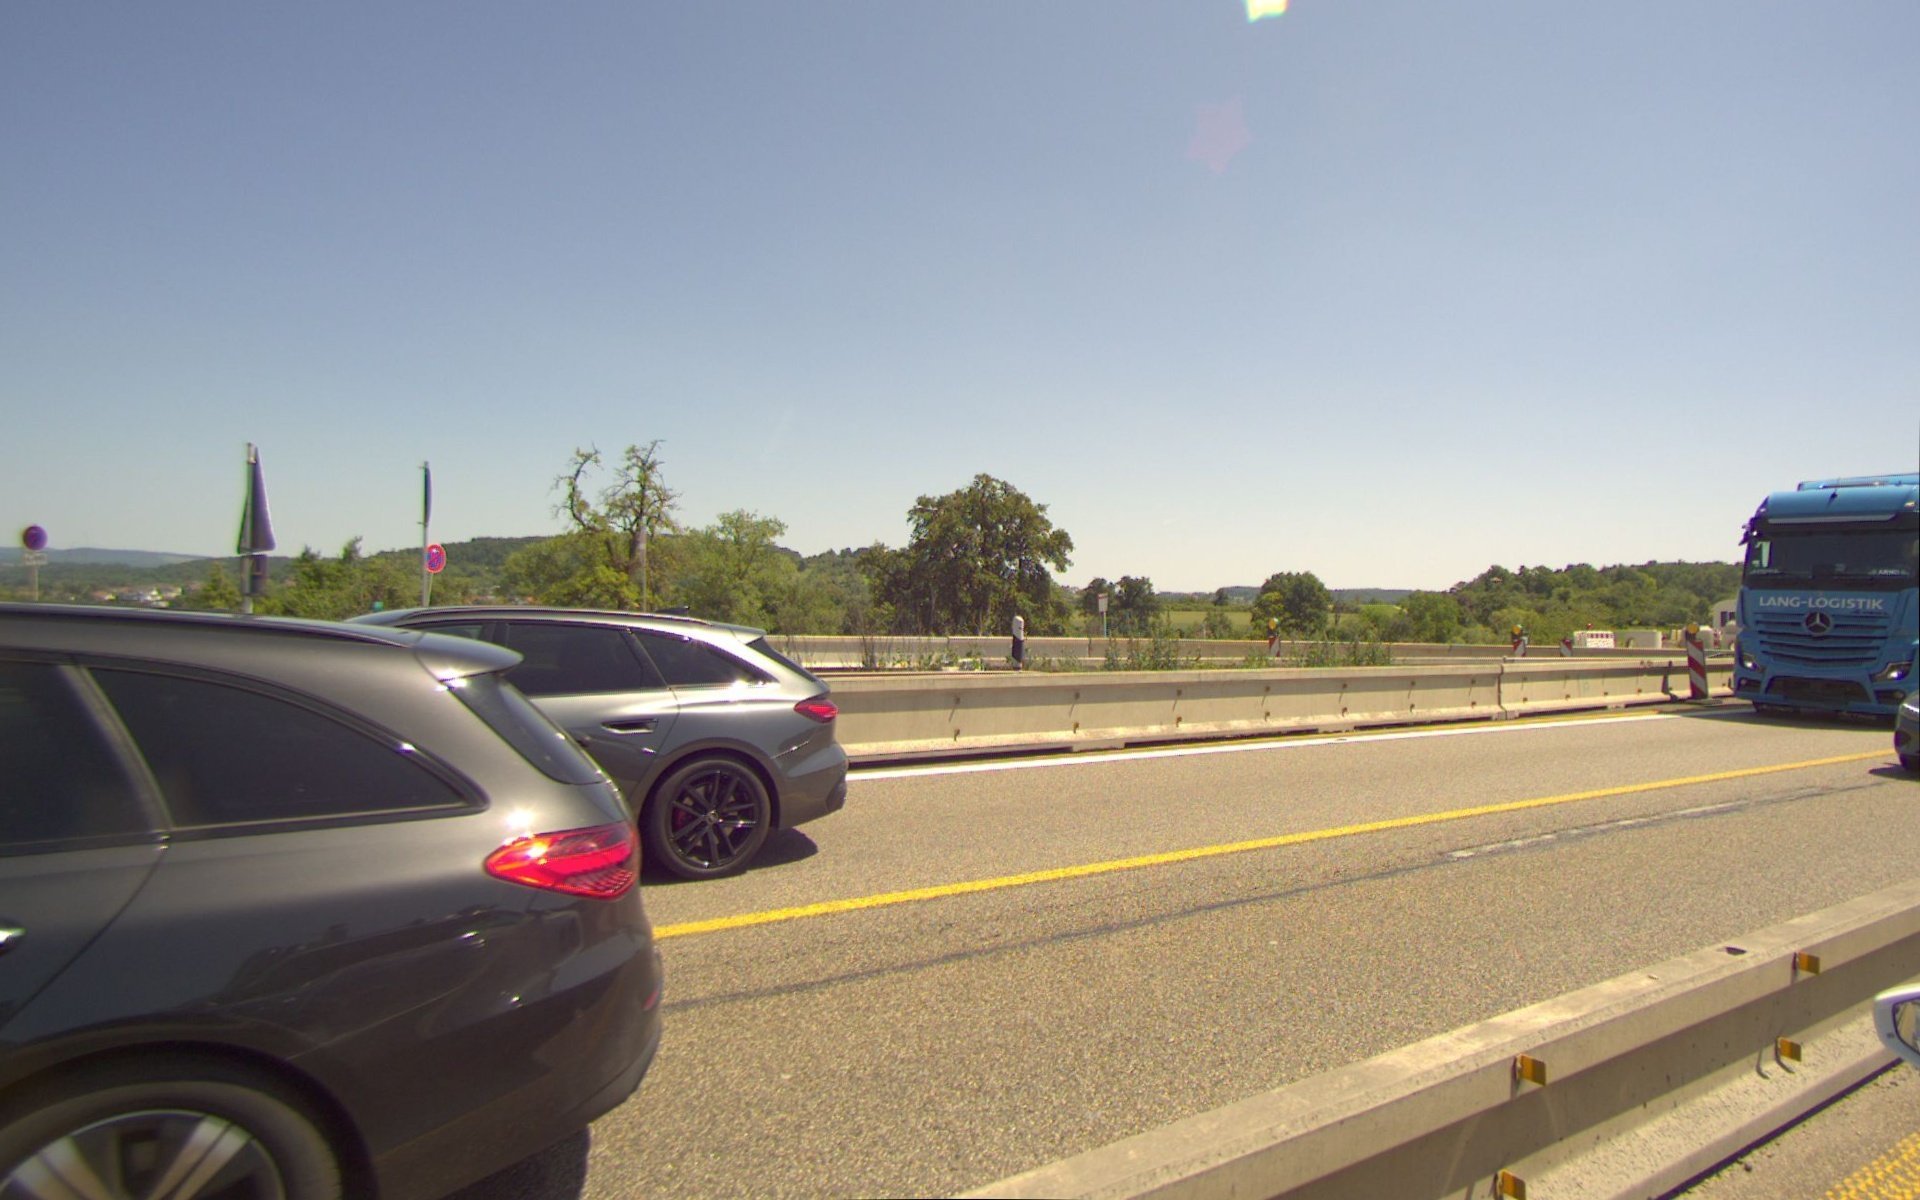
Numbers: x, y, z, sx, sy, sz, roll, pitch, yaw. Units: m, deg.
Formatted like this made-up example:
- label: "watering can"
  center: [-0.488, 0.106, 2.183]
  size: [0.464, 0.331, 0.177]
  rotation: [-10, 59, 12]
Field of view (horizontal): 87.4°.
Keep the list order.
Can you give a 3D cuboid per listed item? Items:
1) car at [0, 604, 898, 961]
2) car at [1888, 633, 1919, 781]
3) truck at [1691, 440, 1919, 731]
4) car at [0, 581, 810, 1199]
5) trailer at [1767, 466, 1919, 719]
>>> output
- label: "car"
  center: [-2.810, 0.762, 5.686]
  size: [4.524, 1.417, 1.985]
  rotation: [1, -1, -29]
- label: "car"
  center: [11.526, 1.093, 10.525]
  size: [4.077, 1.460, 1.581]
  rotation: [1, -1, -31]
- label: "truck"
  center: [15.708, -0.163, 17.188]
  size: [6.063, 4.184, 2.902]
  rotation: [1, 0, -29]
- label: "car"
  center: [-2.809, 0.691, 1.866]
  size: [4.716, 1.446, 1.765]
  rotation: [1, -1, -31]
- label: "trailer"
  center: [21.806, -0.023, 20.304]
  size: [13.728, 4.184, 2.905]
  rotation: [1, 0, -26]
